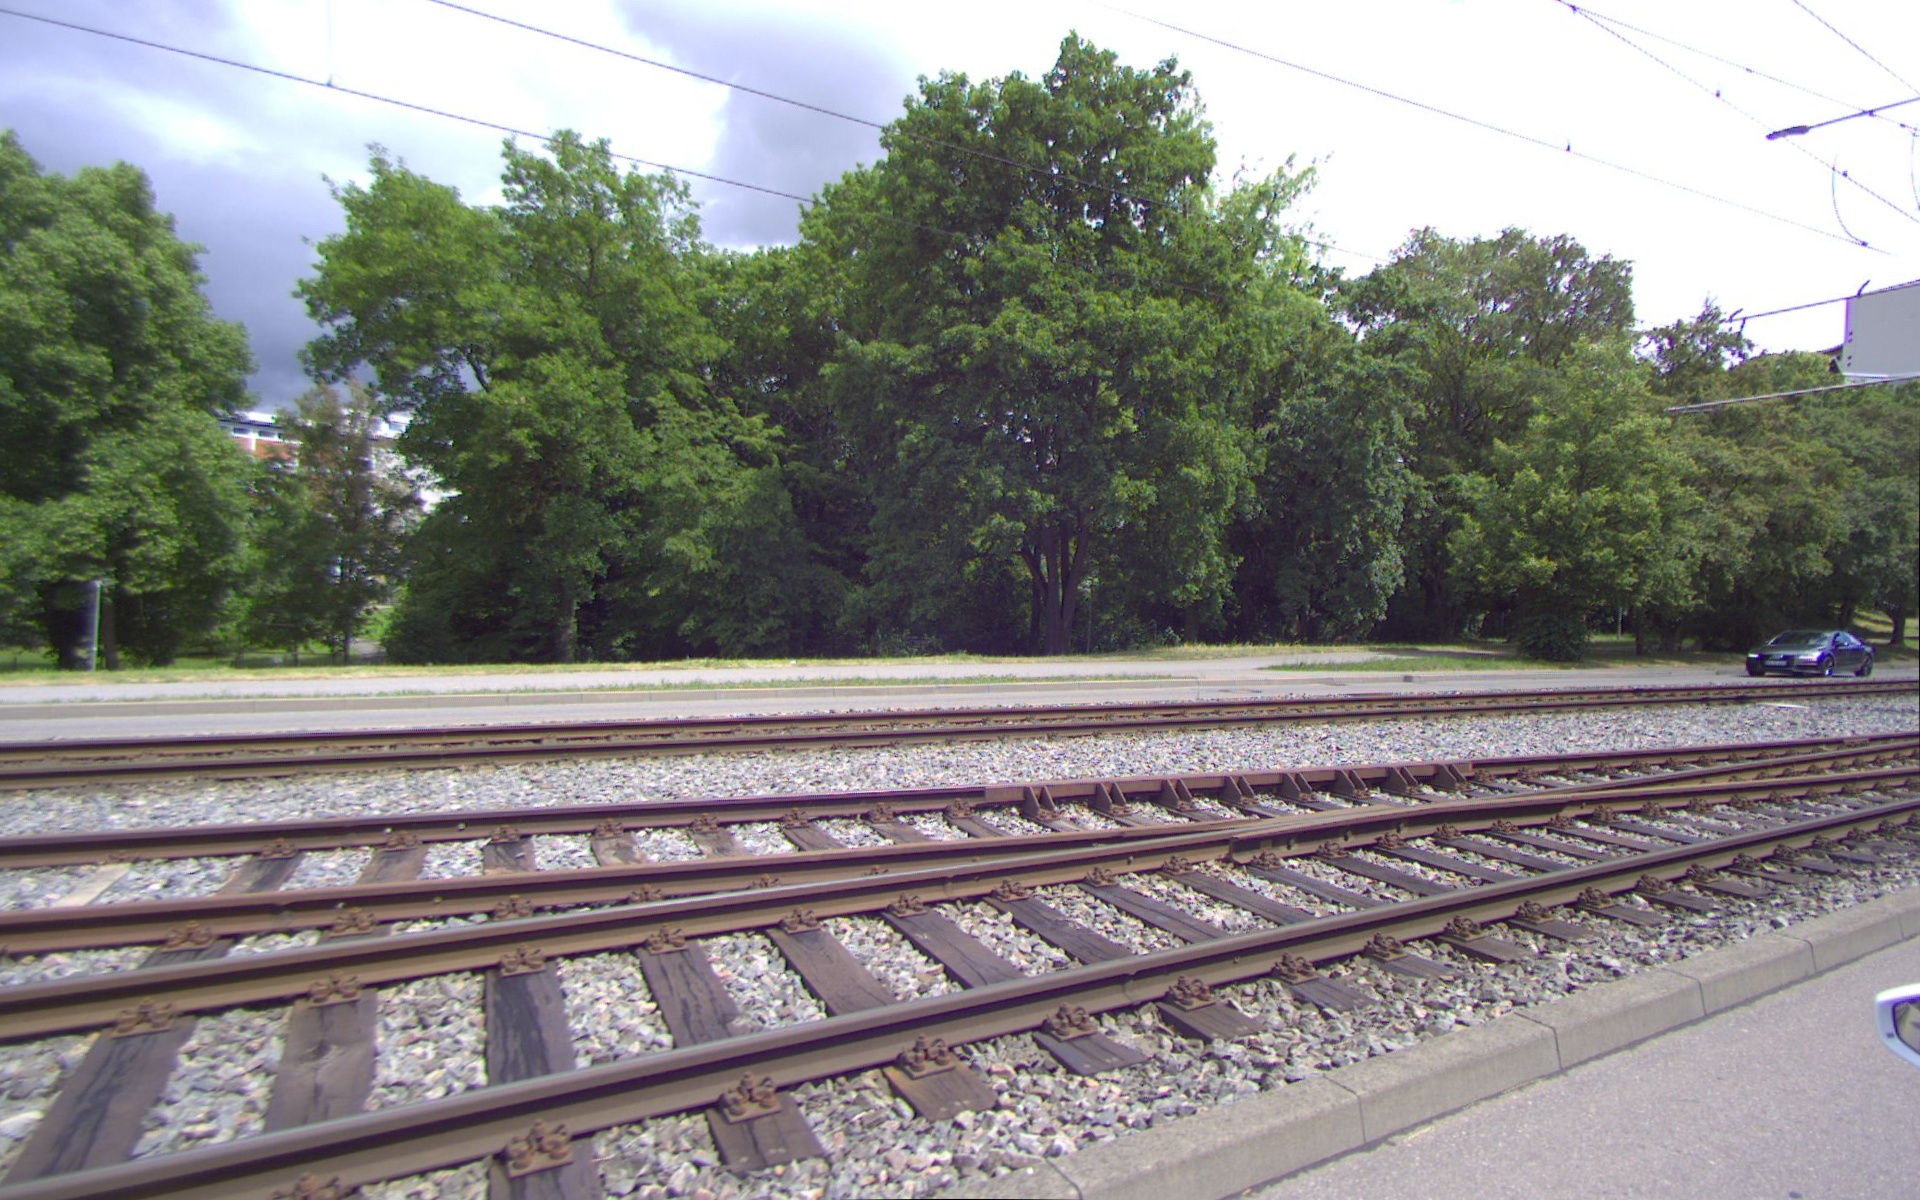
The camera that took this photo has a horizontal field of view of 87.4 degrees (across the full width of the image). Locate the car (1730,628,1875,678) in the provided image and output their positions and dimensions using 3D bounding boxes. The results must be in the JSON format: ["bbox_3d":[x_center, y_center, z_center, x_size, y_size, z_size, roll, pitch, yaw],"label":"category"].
[{"bbox_3d":[25.411,1.569,30.255,4.804,1.409,1.827,1,-2,-30],"label":"car"}]
